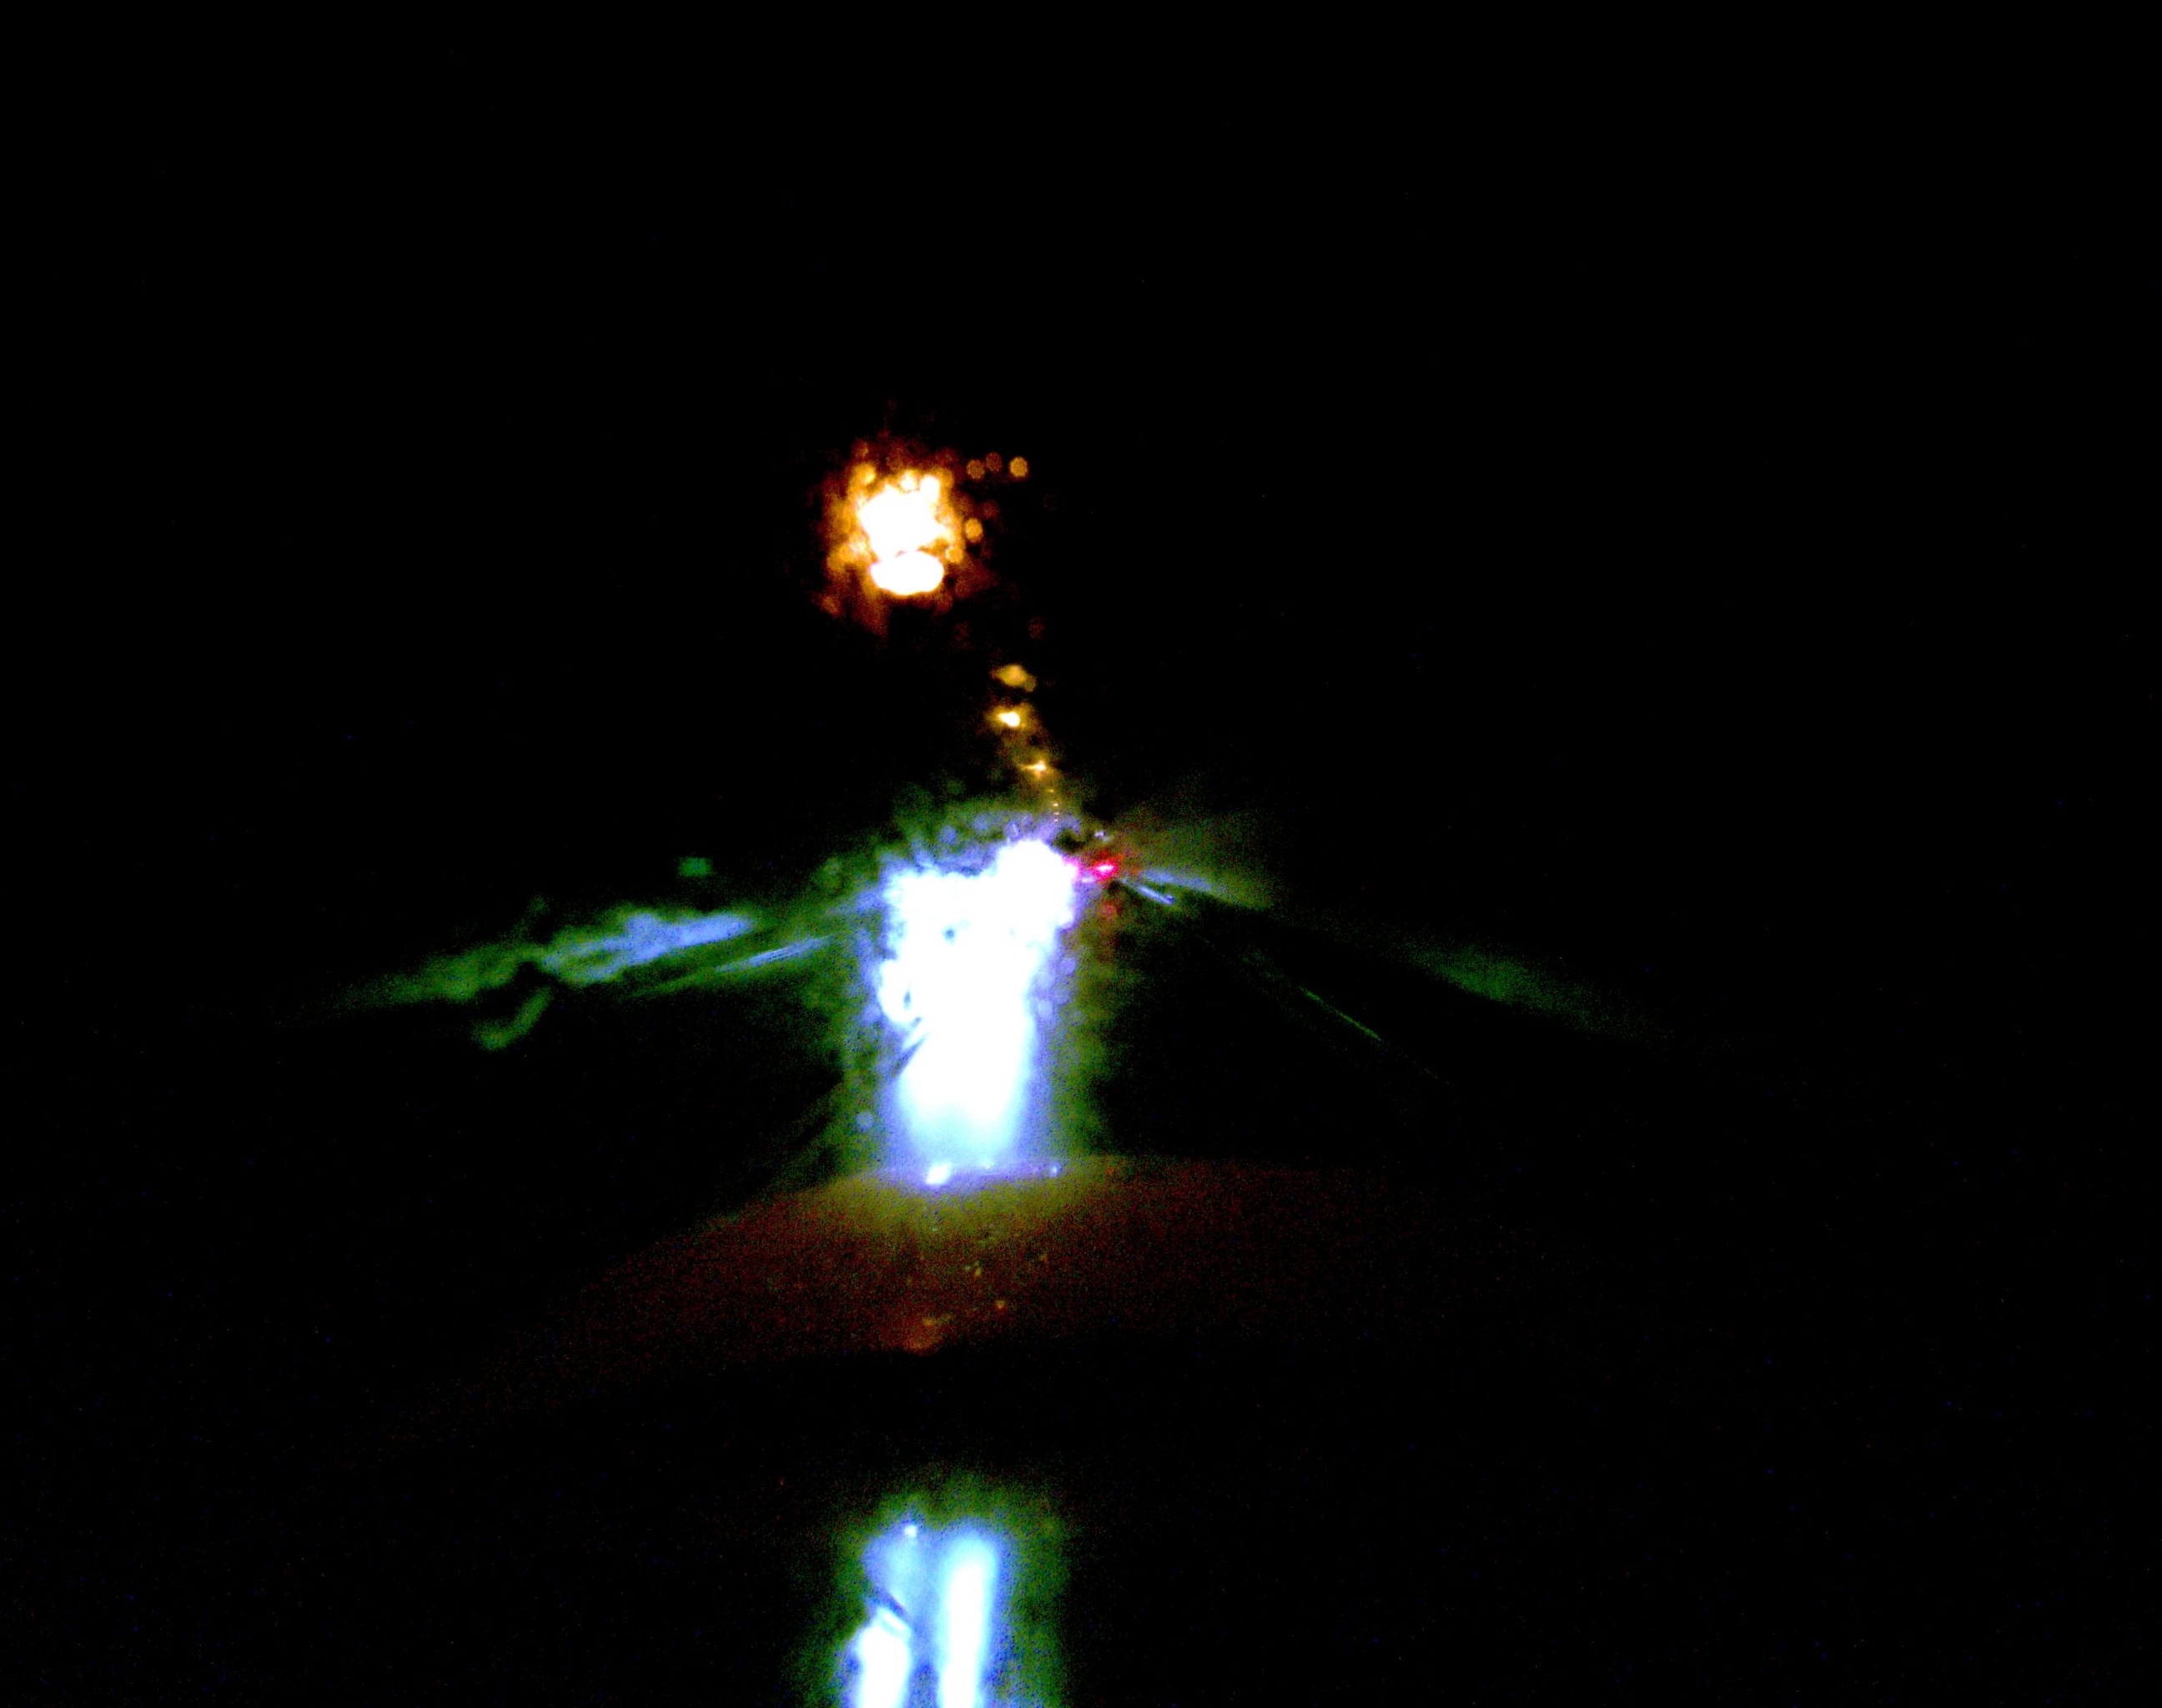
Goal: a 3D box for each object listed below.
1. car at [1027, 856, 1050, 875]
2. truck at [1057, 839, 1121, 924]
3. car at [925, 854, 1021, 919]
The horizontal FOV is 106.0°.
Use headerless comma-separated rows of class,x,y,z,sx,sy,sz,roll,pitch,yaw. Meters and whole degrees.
car,-3.513,0.927,67.860,1.650,1.493,3.838,1,0,0
truck,0.405,1.010,32.784,2.253,3.011,7.418,1,0,2
car,-2.672,0.752,21.021,1.806,1.482,4.202,-1,0,1
